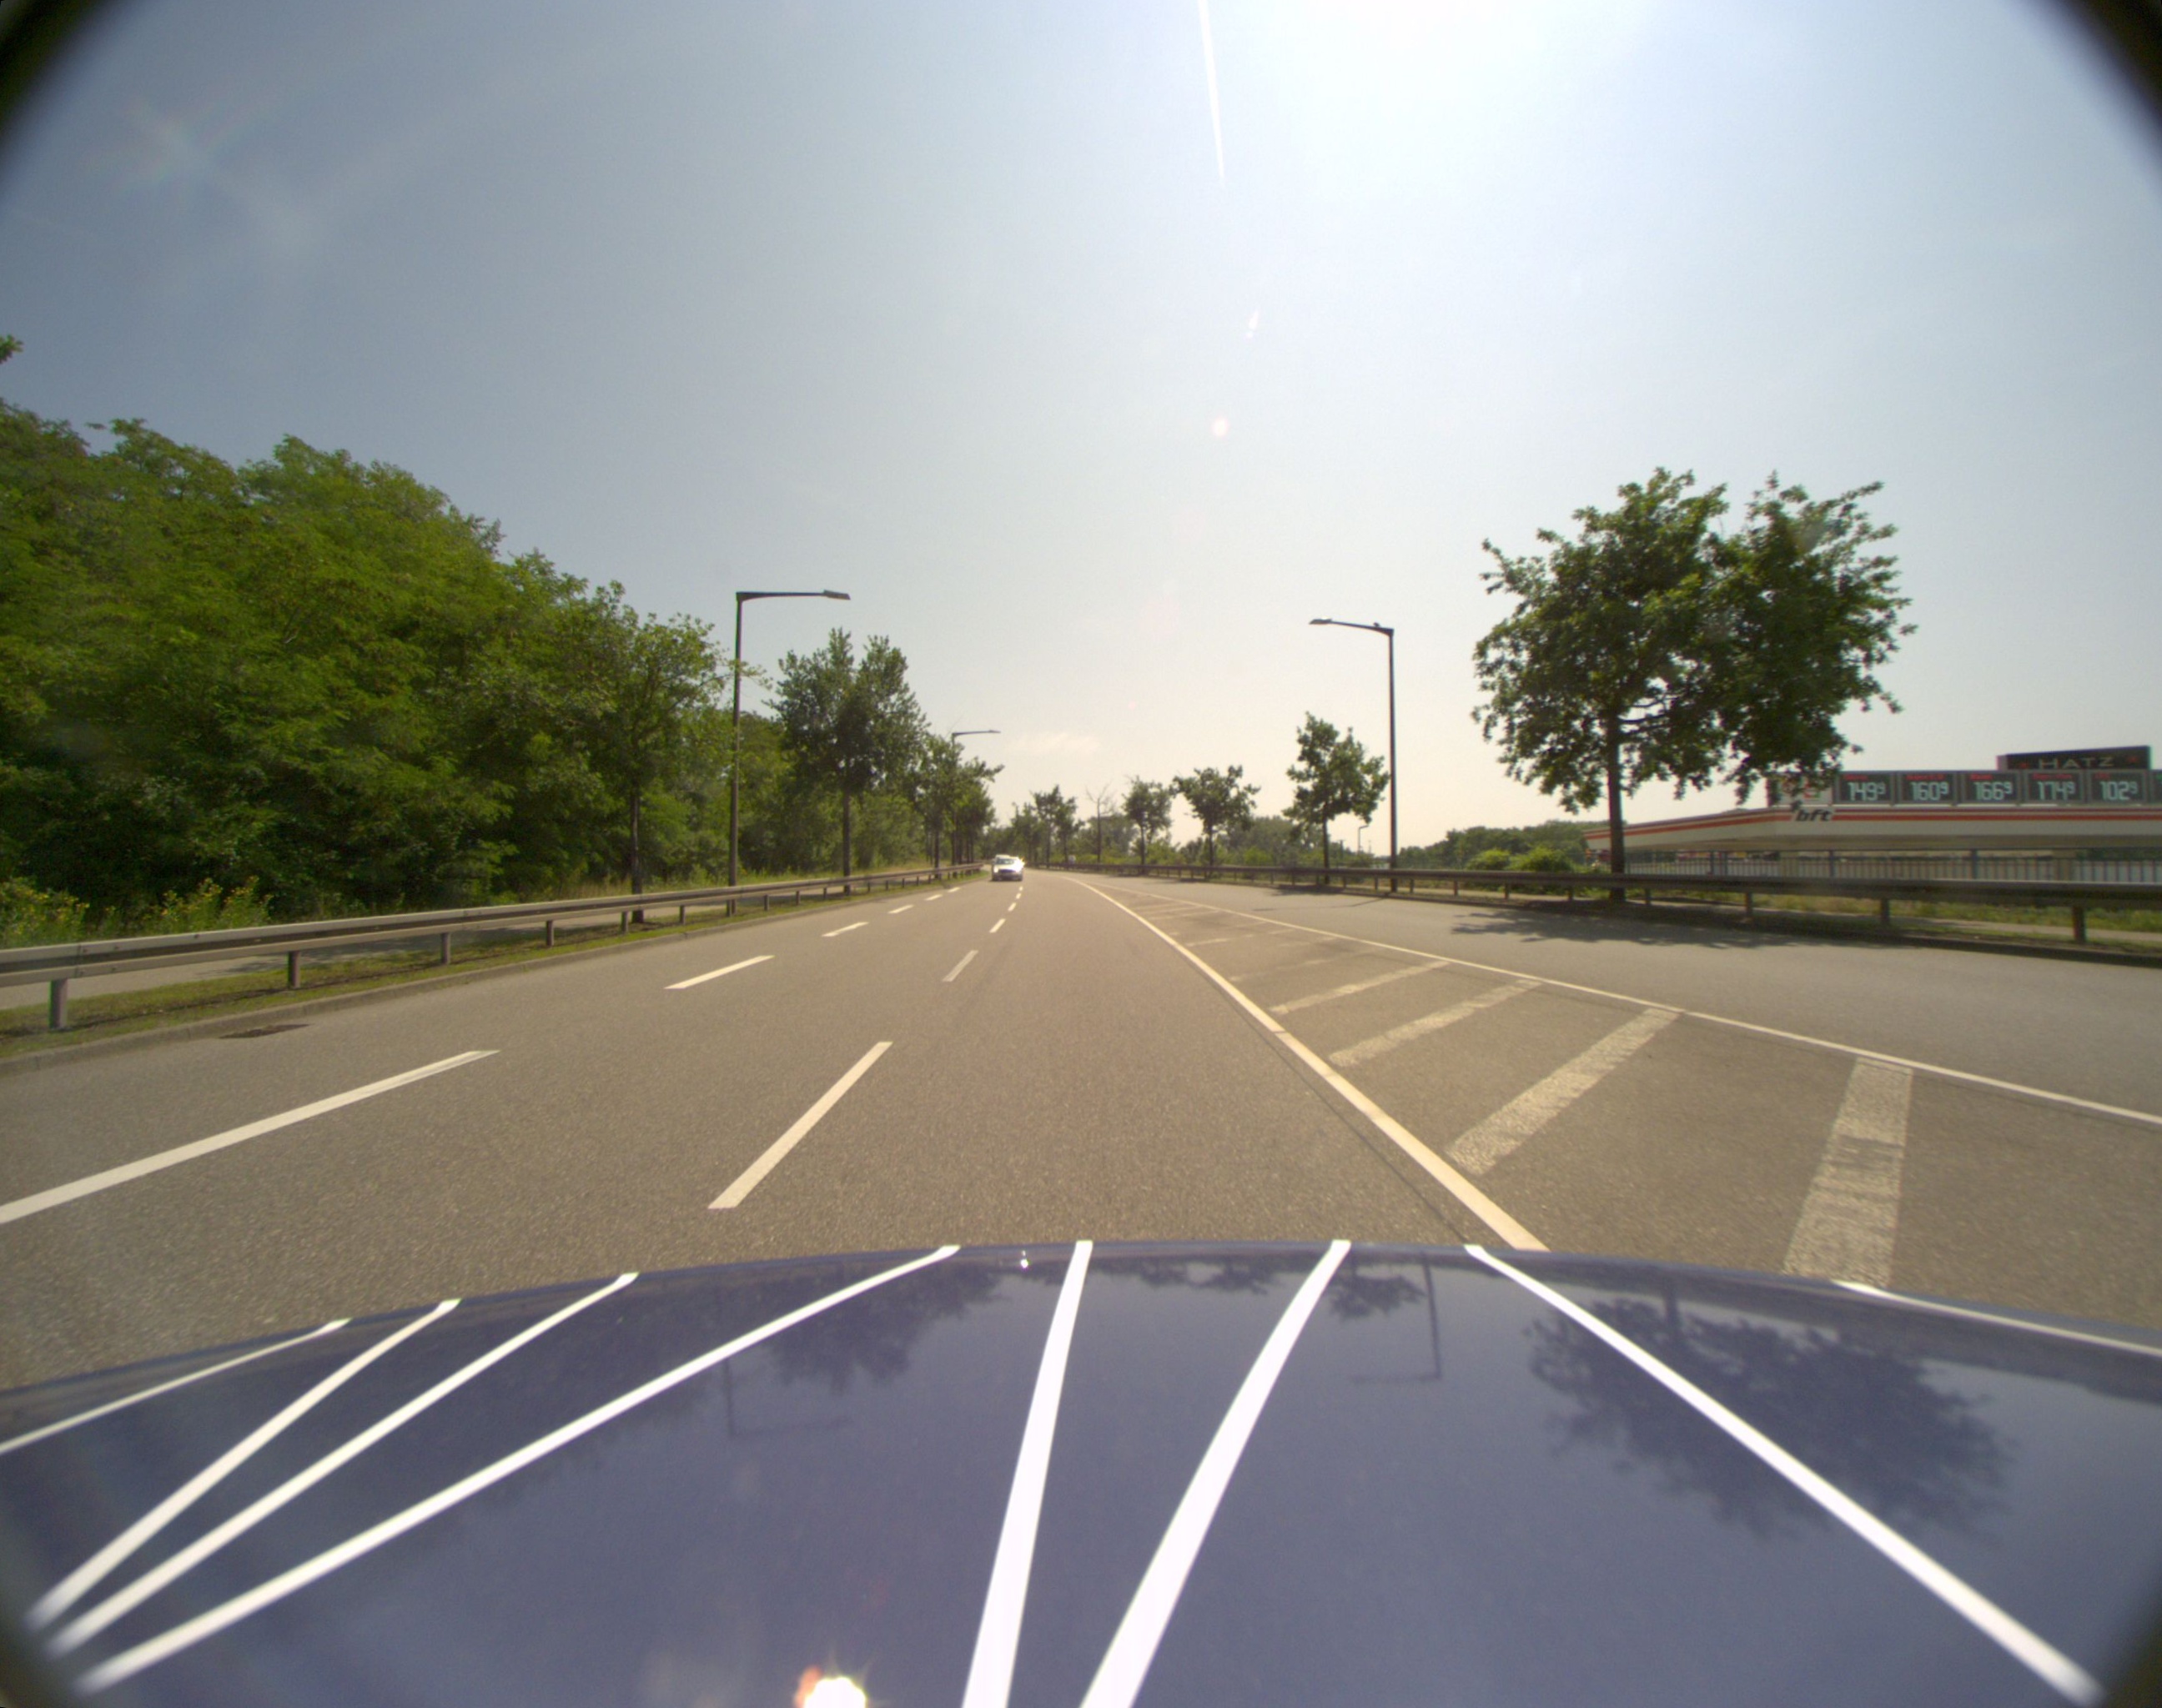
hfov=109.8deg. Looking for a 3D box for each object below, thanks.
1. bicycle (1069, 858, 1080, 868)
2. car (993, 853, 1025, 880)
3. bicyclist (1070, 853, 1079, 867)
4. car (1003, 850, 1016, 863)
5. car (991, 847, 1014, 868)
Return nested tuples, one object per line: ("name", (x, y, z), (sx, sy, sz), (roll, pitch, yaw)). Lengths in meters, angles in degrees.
("bicycle", (-0.717, 0.974, 82.876), (0.737, 1.110, 2.044), (4, 0, -11))
("car", (-4.211, 0.699, 45.079), (1.764, 1.490, 4.231), (-1, 1, -4))
("bicyclist", (-0.691, 0.665, 82.874), (0.732, 1.457, 0.823), (4, 0, -12))
("car", (-10.238, 0.358, 108.673), (1.812, 1.748, 4.250), (2, -1, -6))
("car", (-6.915, 0.313, 66.696), (1.800, 1.772, 4.289), (1, 0, -9))
